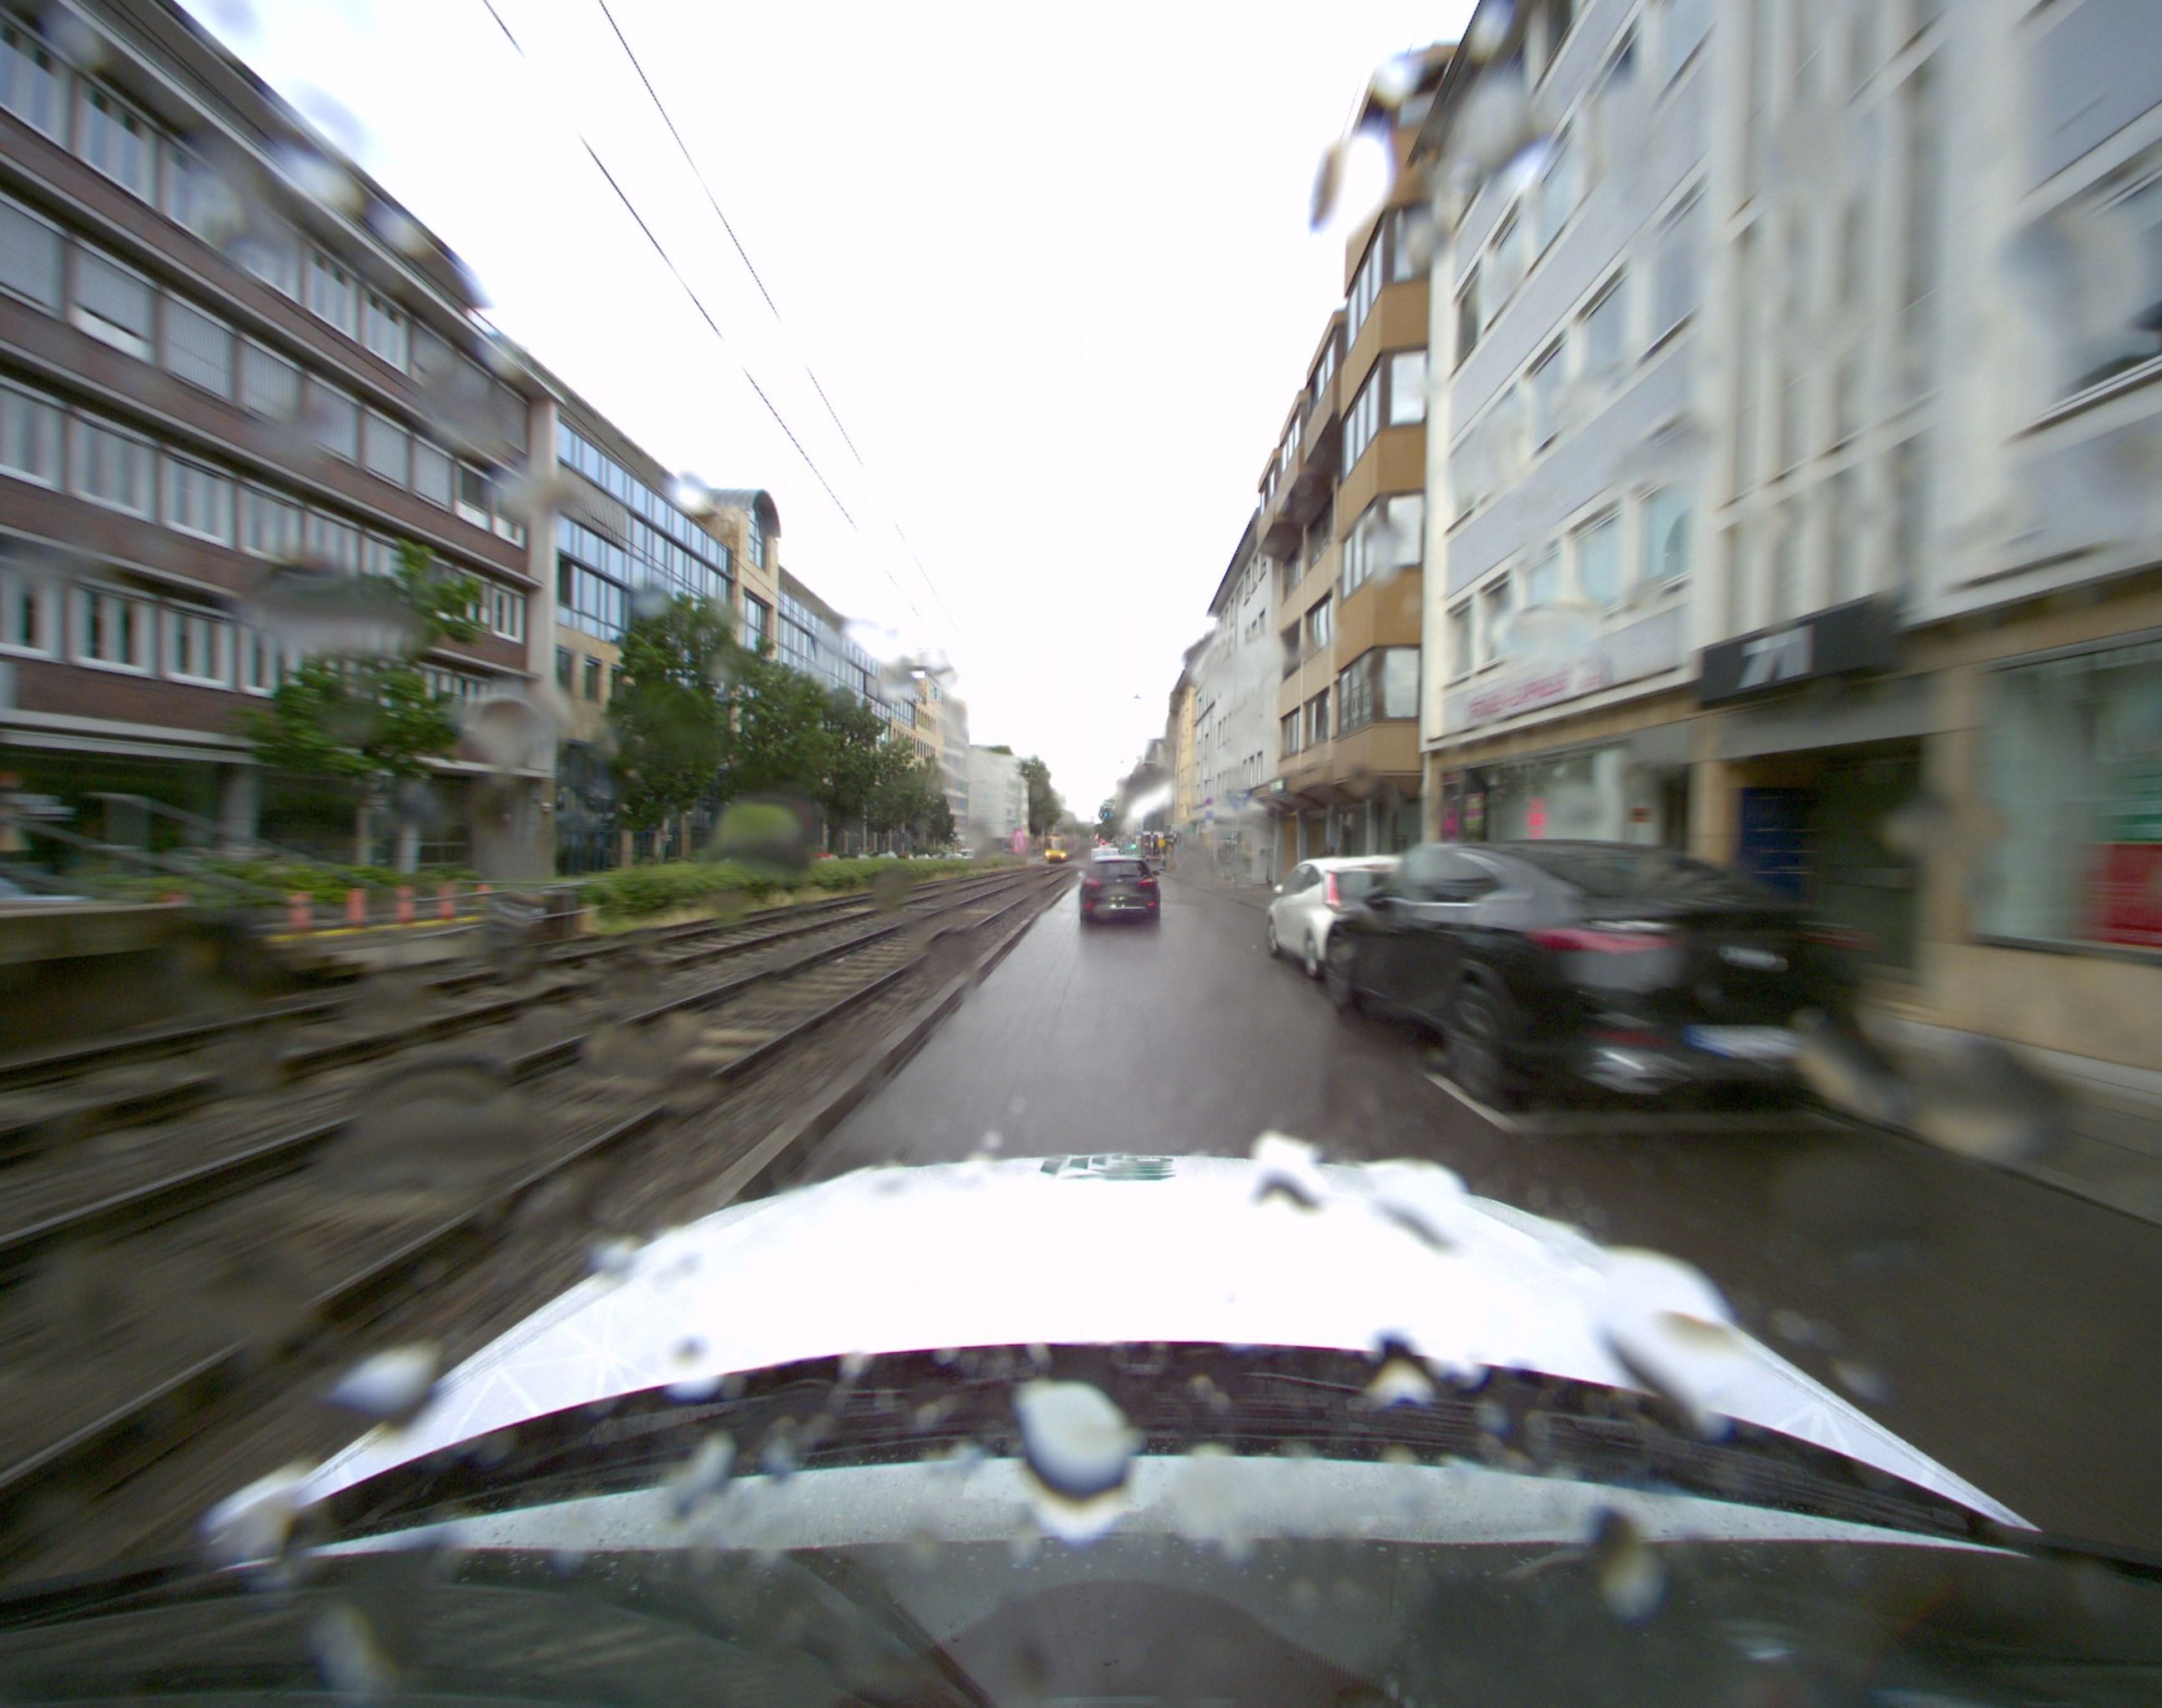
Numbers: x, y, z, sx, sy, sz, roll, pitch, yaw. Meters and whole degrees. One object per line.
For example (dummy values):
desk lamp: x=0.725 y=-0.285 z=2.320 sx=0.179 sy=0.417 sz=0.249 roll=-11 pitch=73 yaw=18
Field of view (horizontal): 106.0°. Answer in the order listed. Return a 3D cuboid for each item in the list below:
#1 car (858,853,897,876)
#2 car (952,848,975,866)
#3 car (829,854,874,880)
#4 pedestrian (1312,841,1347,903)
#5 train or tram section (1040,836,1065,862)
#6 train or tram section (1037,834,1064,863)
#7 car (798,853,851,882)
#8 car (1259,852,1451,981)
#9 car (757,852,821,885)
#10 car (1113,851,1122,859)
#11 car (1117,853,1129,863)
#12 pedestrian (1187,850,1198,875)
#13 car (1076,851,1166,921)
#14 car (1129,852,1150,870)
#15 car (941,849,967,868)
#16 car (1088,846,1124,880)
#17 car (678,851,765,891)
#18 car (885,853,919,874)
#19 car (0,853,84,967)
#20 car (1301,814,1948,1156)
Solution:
car: x=-13.094 y=0.670 z=52.637 sx=1.564 sy=1.436 sz=4.175 roll=0 pitch=0 yaw=-2
car: x=-12.533 y=0.372 z=87.400 sx=1.901 sy=1.865 sz=4.570 roll=0 pitch=-1 yaw=-2
car: x=-13.493 y=0.734 z=48.015 sx=1.564 sy=1.436 sz=4.175 roll=0 pitch=0 yaw=-2
pedestrian: x=6.752 y=0.482 z=22.161 sx=0.693 sy=1.652 sz=0.966 roll=0 pitch=0 yaw=1
train or tram section: x=-4.240 y=-0.723 z=122.631 sx=3.528 sy=3.777 sz=11.326 roll=0 pitch=0 yaw=-1
train or tram section: x=-4.062 y=-0.704 z=111.324 sx=3.503 sy=3.777 sz=11.326 roll=0 pitch=0 yaw=-1
car: x=-13.371 y=0.676 z=42.643 sx=1.564 sy=1.436 sz=4.175 roll=0 pitch=0 yaw=-2
car: x=3.519 y=0.721 z=11.099 sx=1.551 sy=1.476 sz=3.567 roll=0 pitch=0 yaw=2
car: x=-13.454 y=0.649 z=37.755 sx=1.564 sy=1.436 sz=4.175 roll=0 pitch=0 yaw=-2
car: x=7.748 y=0.296 z=171.619 sx=1.899 sy=1.633 sz=4.576 roll=0 pitch=-1 yaw=2
car: x=7.193 y=0.728 z=139.909 sx=1.899 sy=1.633 sz=4.576 roll=0 pitch=-1 yaw=2
pedestrian: x=6.940 y=0.514 z=50.543 sx=0.609 sy=1.538 sz=0.649 roll=0 pitch=-1 yaw=0
car: x=0.902 y=0.707 z=18.953 sx=1.899 sy=1.462 sz=3.446 roll=0 pitch=-1 yaw=2
car: x=5.586 y=0.692 z=77.999 sx=1.899 sy=1.633 sz=4.576 roll=0 pitch=-1 yaw=2
car: x=-12.542 y=0.460 z=80.673 sx=1.901 sy=1.865 sz=4.570 roll=0 pitch=-1 yaw=-2
car: x=1.452 y=0.518 z=46.160 sx=1.898 sy=1.865 sz=4.577 roll=0 pitch=-1 yaw=3
car: x=-13.716 y=0.614 z=31.297 sx=1.564 sy=1.436 sz=4.175 roll=0 pitch=0 yaw=-2
car: x=-12.870 y=0.678 z=58.744 sx=1.564 sy=1.436 sz=4.175 roll=0 pitch=0 yaw=-2
car: x=-14.442 y=0.705 z=9.076 sx=1.564 sy=1.436 sz=4.175 roll=0 pitch=0 yaw=-2
car: x=3.294 y=0.631 z=6.482 sx=1.801 sy=1.631 sz=5.170 roll=0 pitch=0 yaw=1
